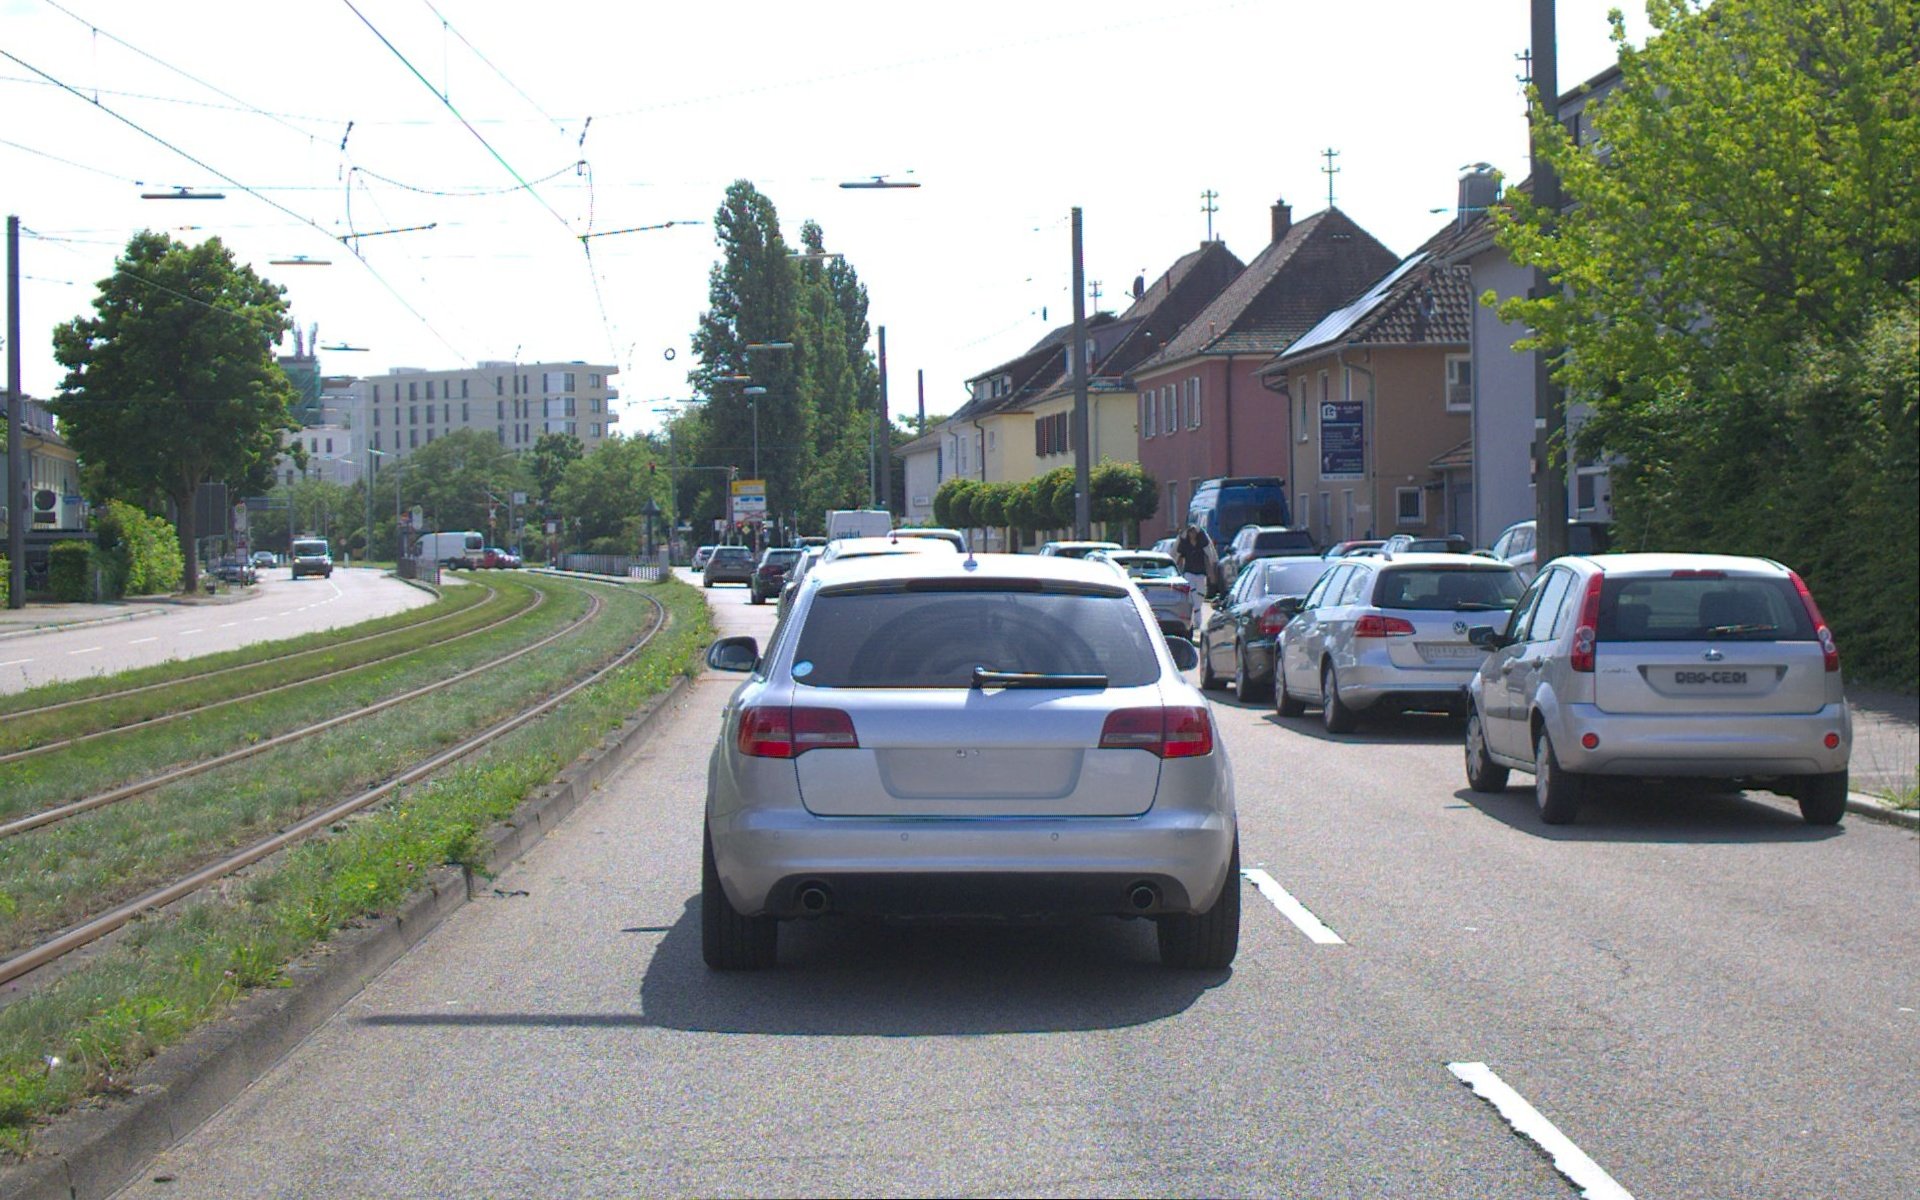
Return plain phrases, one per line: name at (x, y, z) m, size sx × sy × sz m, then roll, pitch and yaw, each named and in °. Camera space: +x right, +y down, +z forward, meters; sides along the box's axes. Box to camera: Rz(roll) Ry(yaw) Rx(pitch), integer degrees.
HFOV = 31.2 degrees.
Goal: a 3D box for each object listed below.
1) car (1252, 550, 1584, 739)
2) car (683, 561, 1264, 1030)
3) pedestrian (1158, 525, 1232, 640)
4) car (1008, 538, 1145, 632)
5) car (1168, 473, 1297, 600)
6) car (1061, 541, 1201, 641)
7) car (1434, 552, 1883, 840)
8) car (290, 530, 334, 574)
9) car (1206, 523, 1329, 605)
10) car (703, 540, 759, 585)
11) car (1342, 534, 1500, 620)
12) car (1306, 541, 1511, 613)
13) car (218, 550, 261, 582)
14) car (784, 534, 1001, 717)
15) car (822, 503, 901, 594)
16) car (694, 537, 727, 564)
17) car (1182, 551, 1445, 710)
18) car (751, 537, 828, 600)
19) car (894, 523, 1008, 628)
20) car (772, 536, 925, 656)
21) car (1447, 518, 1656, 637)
car at (3.789, 0.336, 29.349) m, size 1.890 × 1.450 × 5.007 m, roll 1°, pitch 0°, yaw -3°
car at (-0.023, 0.604, 13.295) m, size 1.854 × 1.487 × 4.536 m, roll 0°, pitch 1°, yaw -2°
pedestrian at (4.019, -0.299, 58.891) m, size 1.112 × 1.939 × 1.092 m, roll -1°, pitch 0°, yaw -3°
car at (2.001, -0.269, 60.223) m, size 1.807 × 1.554 × 4.254 m, roll 1°, pitch 0°, yaw -6°
car at (6.534, -1.493, 83.208) m, size 2.151 × 2.920 × 6.245 m, roll 1°, pitch 0°, yaw -4°
car at (2.601, -0.150, 53.169) m, size 1.814 × 1.449 × 4.643 m, roll 1°, pitch 0°, yaw -1°
car at (3.932, 0.490, 20.012) m, size 1.737 × 1.484 × 4.094 m, roll 1°, pitch 0°, yaw 0°
car at (-36.509, -2.710, 193.738) m, size 2.196 × 2.364 × 5.334 m, roll -2°, pitch 1°, yaw -9°
car at (6.839, -0.828, 76.970) m, size 1.836 × 1.705 × 4.865 m, roll -2°, pitch 1°, yaw -5°
car at (-8.009, -1.319, 120.607) m, size 1.885 × 1.525 × 4.095 m, roll 1°, pitch 0°, yaw -3°
car at (8.121, -0.424, 60.985) m, size 1.798 × 1.419 × 4.858 m, roll -1°, pitch 1°, yaw -4°
car at (8.701, -0.440, 66.825) m, size 3.648 × 1.375 × 1.727 m, roll 0°, pitch 0°, yaw -6°
car at (-36.092, -1.718, 172.262) m, size 1.786 × 1.578 × 3.931 m, roll 0°, pitch 1°, yaw -8°
car at (-0.699, 0.197, 32.372) m, size 1.787 × 1.571 × 4.095 m, roll 2°, pitch 1°, yaw -4°
car at (-2.877, -1.485, 99.523) m, size 2.040 × 2.549 × 5.232 m, roll 0°, pitch 1°, yaw -4°
car at (-14.895, -2.960, 205.643) m, size 1.885 × 1.525 × 4.095 m, roll 1°, pitch 0°, yaw -3°
car at (3.482, 0.252, 34.778) m, size 1.899 × 1.439 × 5.058 m, roll 1°, pitch 1°, yaw -3°
car at (-4.332, -0.790, 87.149) m, size 1.885 × 1.525 × 4.095 m, roll 1°, pitch 0°, yaw -3°
car at (-0.166, -0.443, 59.298) m, size 1.885 × 1.725 × 4.094 m, roll -1°, pitch 1°, yaw 0°
car at (-1.486, -0.081, 44.790) m, size 1.885 × 1.461 × 4.095 m, roll -1°, pitch 1°, yaw -3°
car at (8.716, -0.342, 51.037) m, size 1.756 × 1.641 × 4.770 m, roll -2°, pitch 1°, yaw -6°
